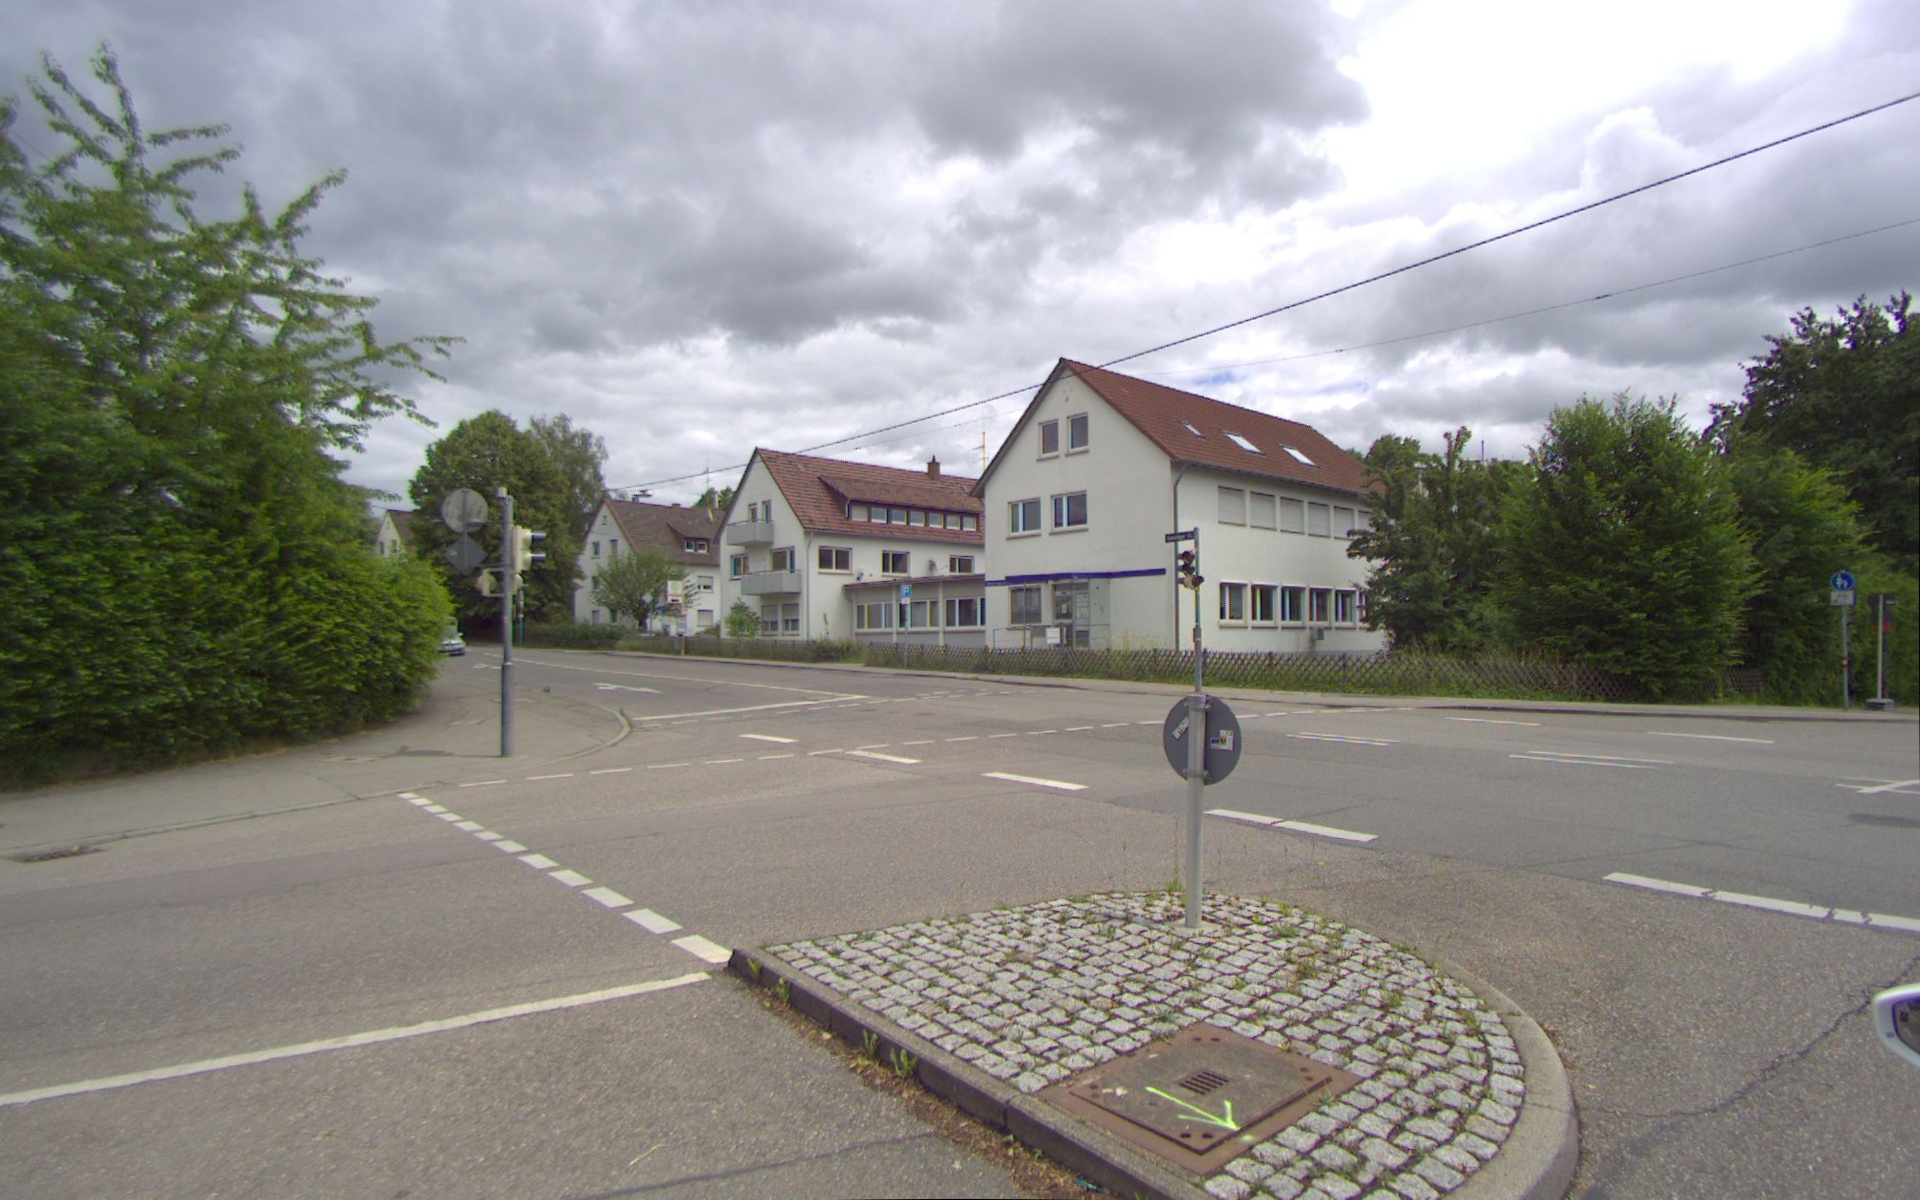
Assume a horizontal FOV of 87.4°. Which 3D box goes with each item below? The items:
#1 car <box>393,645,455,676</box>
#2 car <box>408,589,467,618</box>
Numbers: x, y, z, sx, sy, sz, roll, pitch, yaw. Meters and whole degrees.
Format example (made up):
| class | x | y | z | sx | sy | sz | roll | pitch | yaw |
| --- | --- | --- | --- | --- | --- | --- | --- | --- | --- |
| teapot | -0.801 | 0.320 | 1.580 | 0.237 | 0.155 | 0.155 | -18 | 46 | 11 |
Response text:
| class | x | y | z | sx | sy | sz | roll | pitch | yaw |
| --- | --- | --- | --- | --- | --- | --- | --- | --- | --- |
| car | -25.143 | 2.815 | 47.061 | 1.705 | 1.372 | 4.035 | 2 | -3 | -41 |
| car | -35.709 | 0.220 | 68.608 | 4.247 | 1.797 | 1.838 | 1 | -3 | 36 |
